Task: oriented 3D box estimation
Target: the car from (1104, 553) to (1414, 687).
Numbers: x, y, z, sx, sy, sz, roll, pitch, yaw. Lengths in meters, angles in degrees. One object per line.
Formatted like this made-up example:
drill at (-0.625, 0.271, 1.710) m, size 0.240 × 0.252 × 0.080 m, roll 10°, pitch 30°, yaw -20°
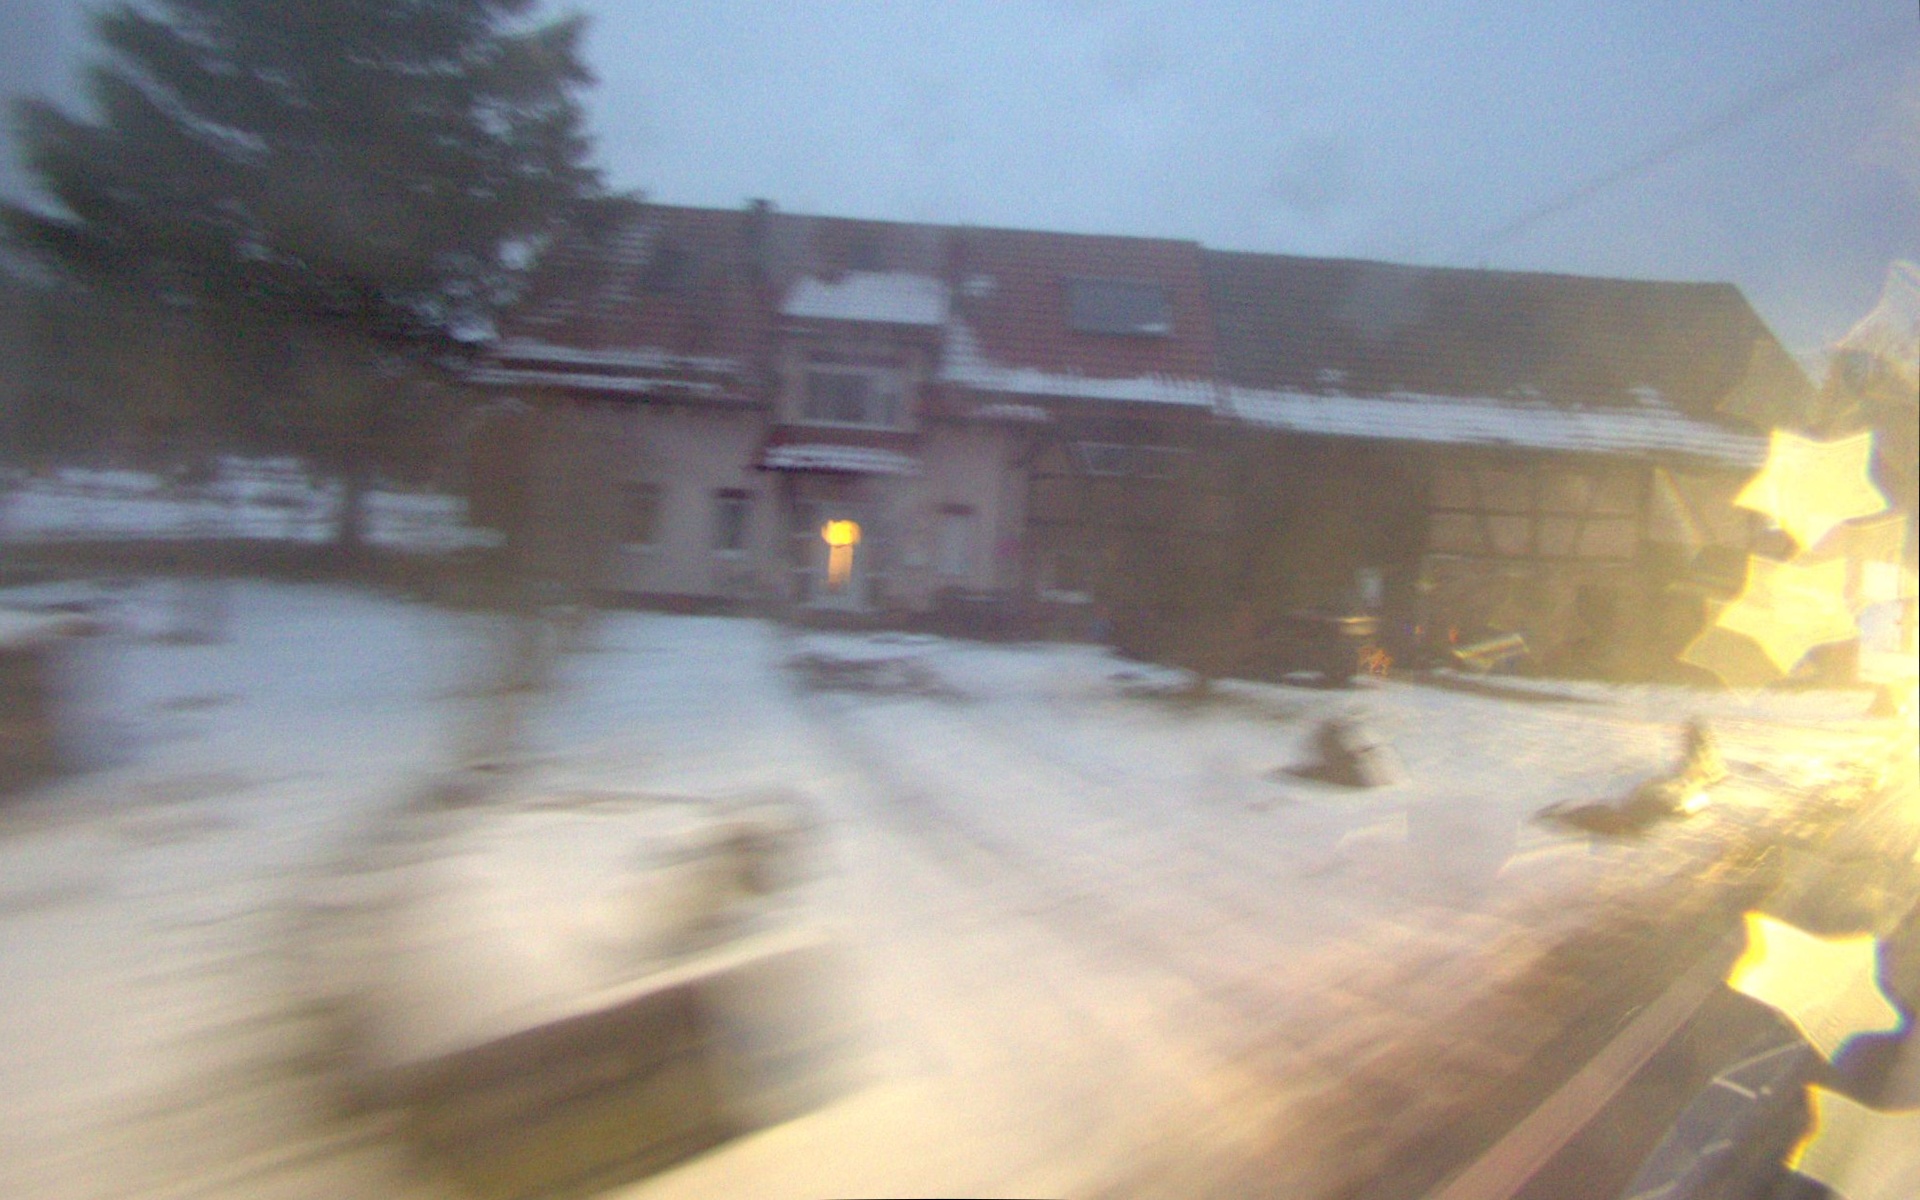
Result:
car at (4.368, 0.182, 15.513) m, size 1.825 × 1.677 × 4.415 m, roll 1°, pitch 3°, yaw -32°
